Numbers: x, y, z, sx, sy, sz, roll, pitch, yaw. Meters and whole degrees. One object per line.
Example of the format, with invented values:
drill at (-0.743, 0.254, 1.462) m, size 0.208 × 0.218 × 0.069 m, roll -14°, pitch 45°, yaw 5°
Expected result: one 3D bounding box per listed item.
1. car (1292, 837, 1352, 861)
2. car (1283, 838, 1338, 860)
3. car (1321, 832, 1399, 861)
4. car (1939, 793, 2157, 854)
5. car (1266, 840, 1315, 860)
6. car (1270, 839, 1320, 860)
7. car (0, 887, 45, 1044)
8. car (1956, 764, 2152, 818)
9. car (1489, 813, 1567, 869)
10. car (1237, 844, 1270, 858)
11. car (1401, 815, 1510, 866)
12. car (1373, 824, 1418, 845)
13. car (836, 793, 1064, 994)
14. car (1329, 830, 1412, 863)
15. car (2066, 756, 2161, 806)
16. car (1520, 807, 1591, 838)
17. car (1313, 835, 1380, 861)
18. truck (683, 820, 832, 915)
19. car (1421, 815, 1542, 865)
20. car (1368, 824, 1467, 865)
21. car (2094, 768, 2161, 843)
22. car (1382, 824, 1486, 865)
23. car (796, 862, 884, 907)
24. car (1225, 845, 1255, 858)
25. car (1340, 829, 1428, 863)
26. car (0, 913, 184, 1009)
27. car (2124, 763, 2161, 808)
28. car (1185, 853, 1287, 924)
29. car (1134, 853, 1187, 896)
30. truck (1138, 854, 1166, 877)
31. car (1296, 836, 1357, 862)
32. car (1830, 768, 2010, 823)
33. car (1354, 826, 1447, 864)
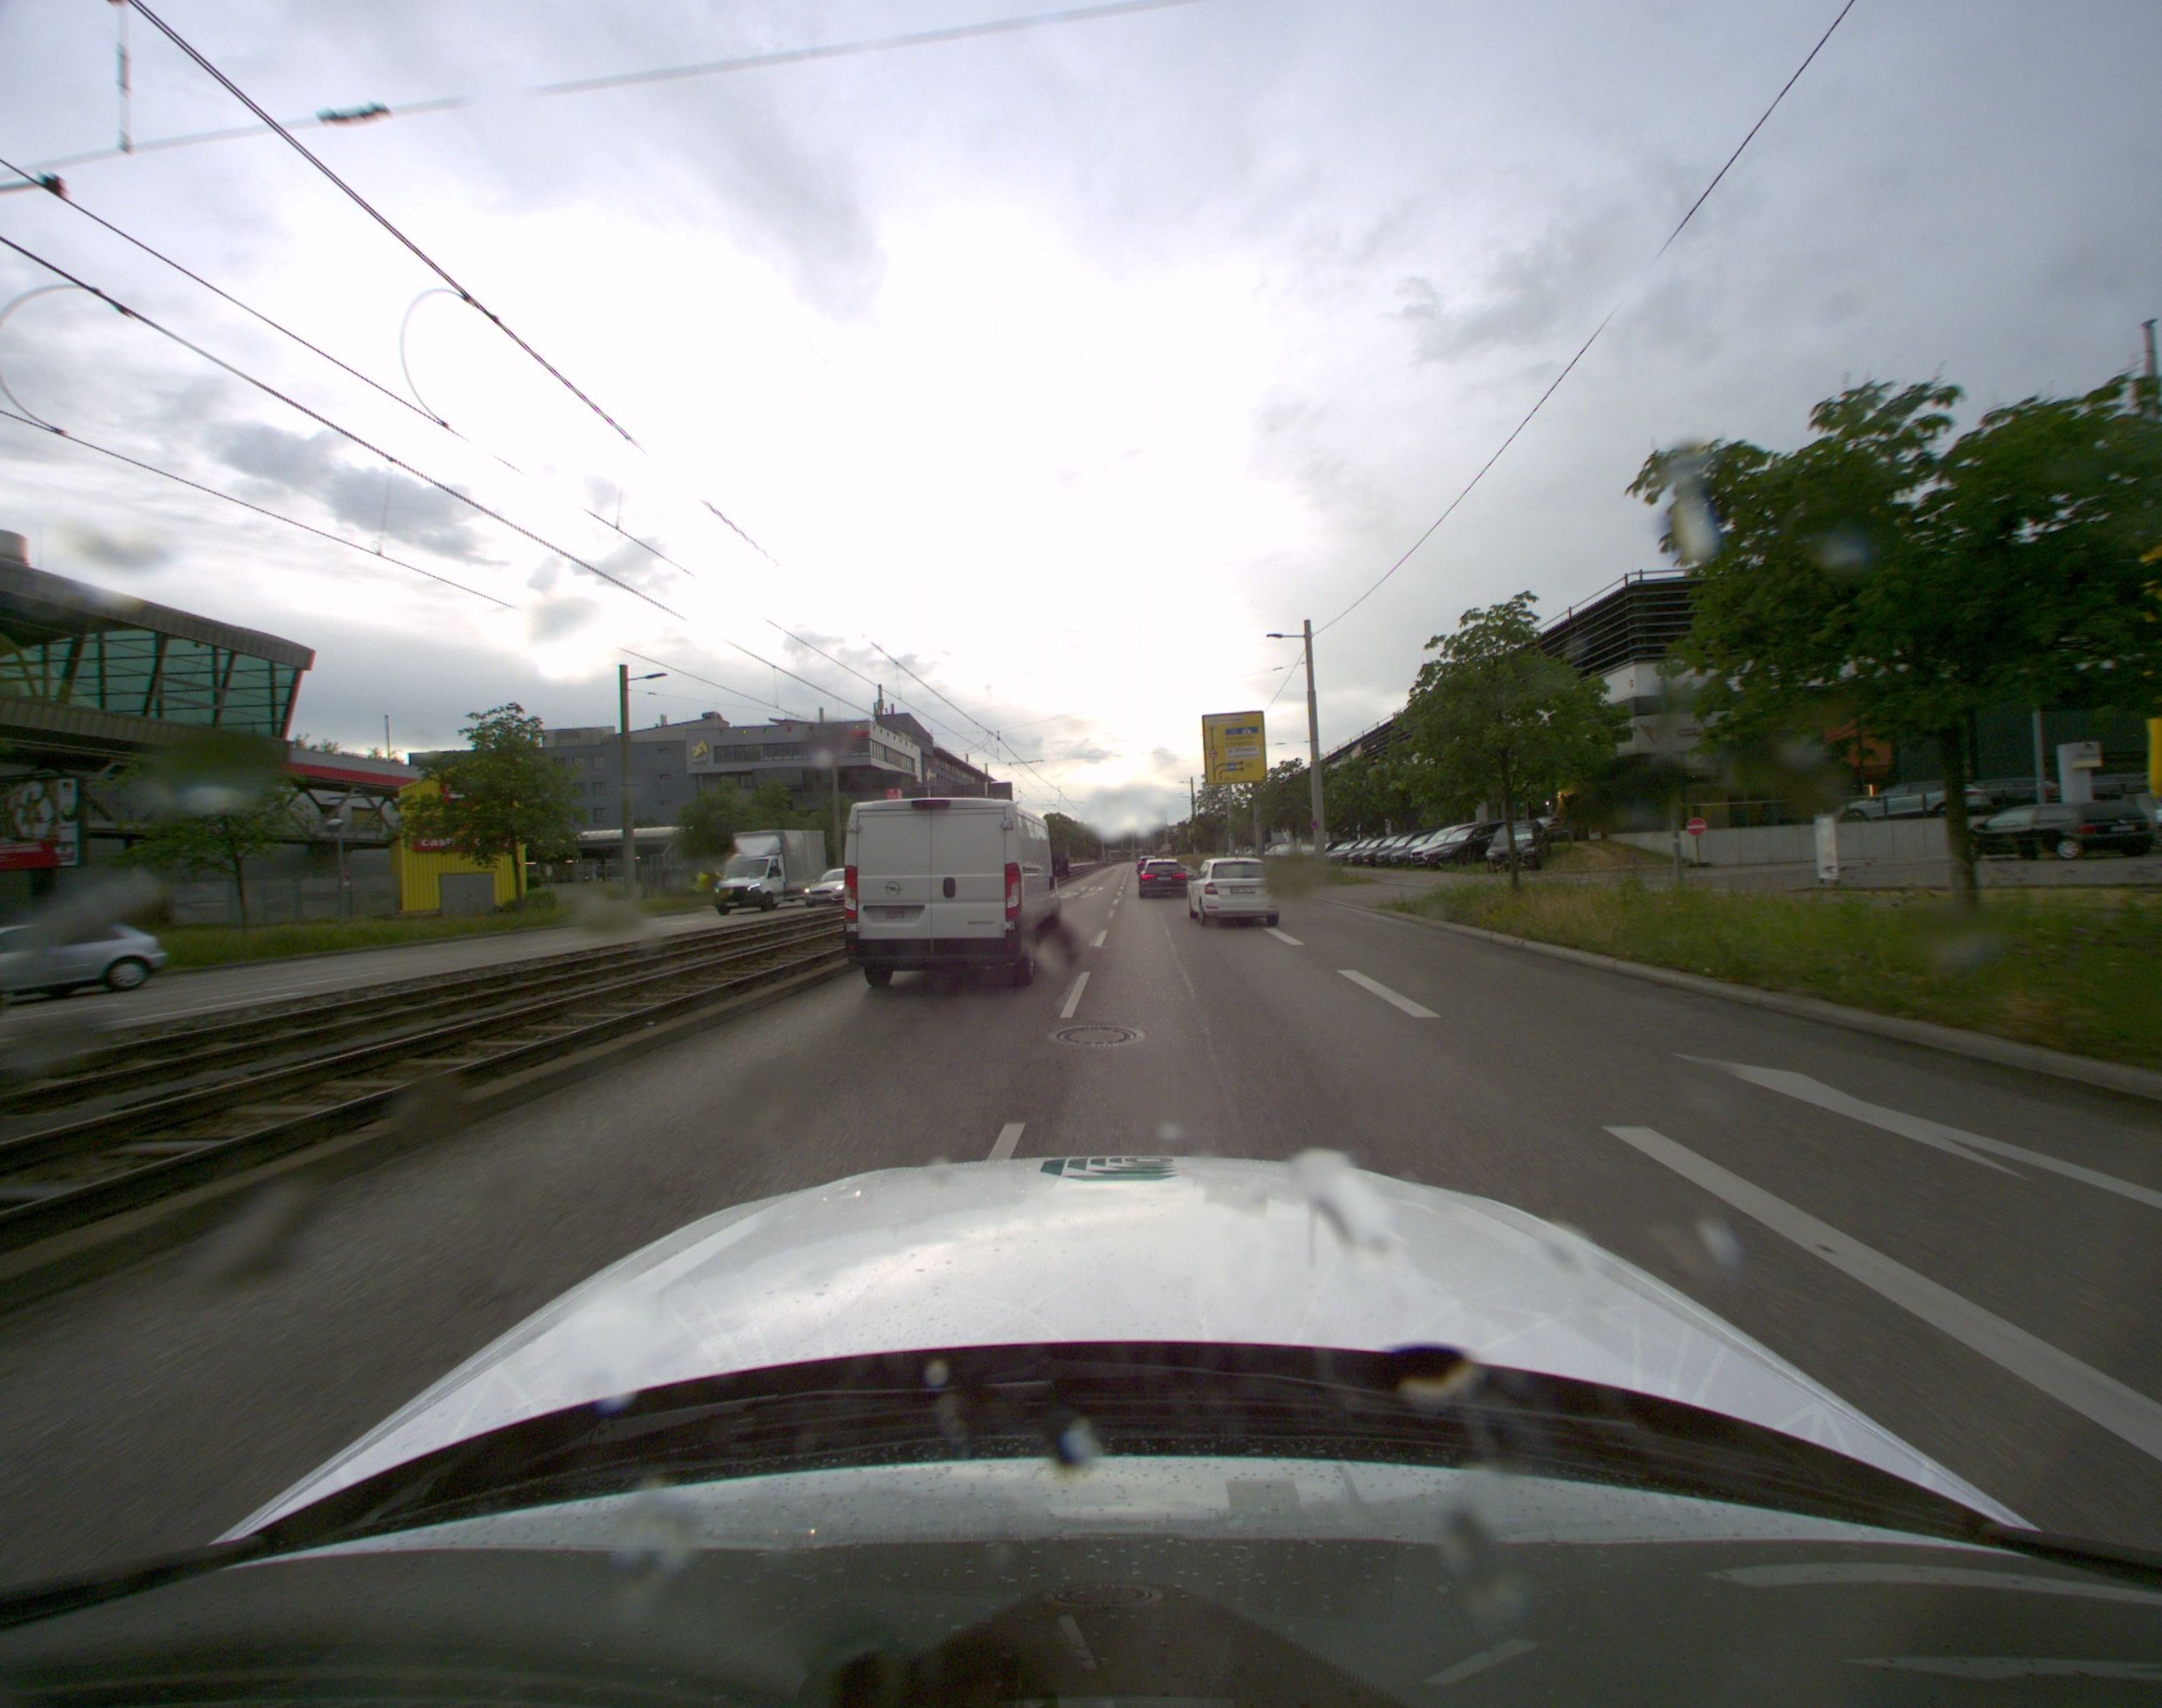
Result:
car at (18.948, -0.351, 63.997) m, size 4.148 × 1.534 × 1.784 m, roll -4°, pitch 0°, yaw -16°
car at (19.609, -0.425, 69.542) m, size 4.148 × 1.528 × 1.821 m, roll -4°, pitch 0°, yaw -16°
car at (18.431, -0.477, 53.821) m, size 4.483 × 1.569 × 1.816 m, roll -4°, pitch 0°, yaw -8°
car at (24.136, -0.700, 20.529) m, size 1.386 × 1.338 × 3.491 m, roll -3°, pitch 0°, yaw 2°
car at (20.033, -0.379, 77.931) m, size 4.155 × 1.604 × 1.814 m, roll -4°, pitch 0°, yaw -21°
car at (19.735, -0.391, 75.088) m, size 4.155 × 1.569 × 1.814 m, roll -4°, pitch 0°, yaw -21°
car at (-12.777, 1.298, 6.974) m, size 1.899 × 1.657 × 4.369 m, roll -5°, pitch 0°, yaw 7°
car at (35.953, -2.283, 30.262) m, size 1.846 × 1.644 × 4.285 m, roll -3°, pitch 1°, yaw -21°
car at (17.330, -0.550, 31.451) m, size 1.854 × 1.815 × 4.420 m, roll -5°, pitch 1°, yaw 38°
car at (22.771, -0.413, 107.317) m, size 4.112 × 1.465 × 1.731 m, roll -4°, pitch -1°, yaw -29°
car at (17.535, -0.613, 38.169) m, size 4.496 × 1.991 × 1.811 m, roll -4°, pitch 0°, yaw -17°
car at (34.132, -2.062, 88.401) m, size 4.010 × 1.976 × 1.946 m, roll -3°, pitch -1°, yaw 3°
car at (-1.492, 0.442, 11.449) m, size 2.081 × 2.196 × 5.066 m, roll 0°, pitch 0°, yaw 4°
car at (18.116, -0.461, 51.050) m, size 4.483 × 1.663 × 1.816 m, roll -4°, pitch 0°, yaw -8°
car at (39.658, -2.745, 29.785) m, size 1.847 × 1.644 × 4.282 m, roll -3°, pitch 1°, yaw -23°
car at (26.419, -1.728, 45.462) m, size 1.772 × 1.472 × 3.902 m, roll -3°, pitch 0°, yaw 3°
car at (18.387, -0.398, 56.435) m, size 4.042 × 1.501 × 1.682 m, roll -4°, pitch 0°, yaw -8°
truck at (-13.269, 0.500, 34.184) m, size 2.715 × 3.357 × 7.160 m, roll -5°, pitch 0°, yaw 4°
car at (17.368, -0.575, 35.366) m, size 4.378 × 1.789 × 1.872 m, roll -4°, pitch 0°, yaw -11°
car at (17.820, -0.490, 43.229) m, size 4.483 × 1.752 × 1.816 m, roll -4°, pitch 0°, yaw -8°
car at (27.985, -1.273, 19.343) m, size 1.986 × 1.860 × 4.719 m, roll -3°, pitch 0°, yaw 2°
car at (17.583, -0.475, 40.637) m, size 4.487 × 1.637 × 1.814 m, roll -4°, pitch 0°, yaw -11°
car at (-9.835, 1.209, 33.584) m, size 1.797 × 1.498 × 4.448 m, roll -6°, pitch 0°, yaw 5°
car at (22.820, -0.384, 116.698) m, size 4.116 × 1.568 × 1.780 m, roll -4°, pitch -1°, yaw -33°
car at (18.042, -0.468, 48.549) m, size 4.479 × 1.619 × 1.818 m, roll -5°, pitch 0°, yaw -6°
car at (-18.889, 1.900, 14.250) m, size 1.739 × 1.400 × 4.007 m, roll -1°, pitch 1°, yaw 6°
car at (42.456, -2.704, 30.270) m, size 1.850 × 1.644 × 4.275 m, roll -3°, pitch 1°, yaw -29°
car at (3.433, 0.712, 18.635) m, size 1.740 × 1.457 × 3.672 m, roll -1°, pitch 0°, yaw 2°
car at (2.970, 0.732, 31.093) m, size 1.782 × 1.449 × 4.003 m, roll -1°, pitch 0°, yaw 3°
truck at (5.818, 0.918, 67.159) m, size 1.986 × 1.790 × 4.416 m, roll -3°, pitch 0°, yaw 2°
car at (18.439, -0.356, 61.292) m, size 4.053 × 1.576 × 1.723 m, roll -4°, pitch 0°, yaw -16°
car at (30.784, -2.115, 30.040) m, size 1.850 × 1.644 × 4.275 m, roll -3°, pitch 1°, yaw -29°
car at (17.998, -0.486, 45.900) m, size 4.483 × 1.795 × 1.816 m, roll -4°, pitch 0°, yaw -8°
